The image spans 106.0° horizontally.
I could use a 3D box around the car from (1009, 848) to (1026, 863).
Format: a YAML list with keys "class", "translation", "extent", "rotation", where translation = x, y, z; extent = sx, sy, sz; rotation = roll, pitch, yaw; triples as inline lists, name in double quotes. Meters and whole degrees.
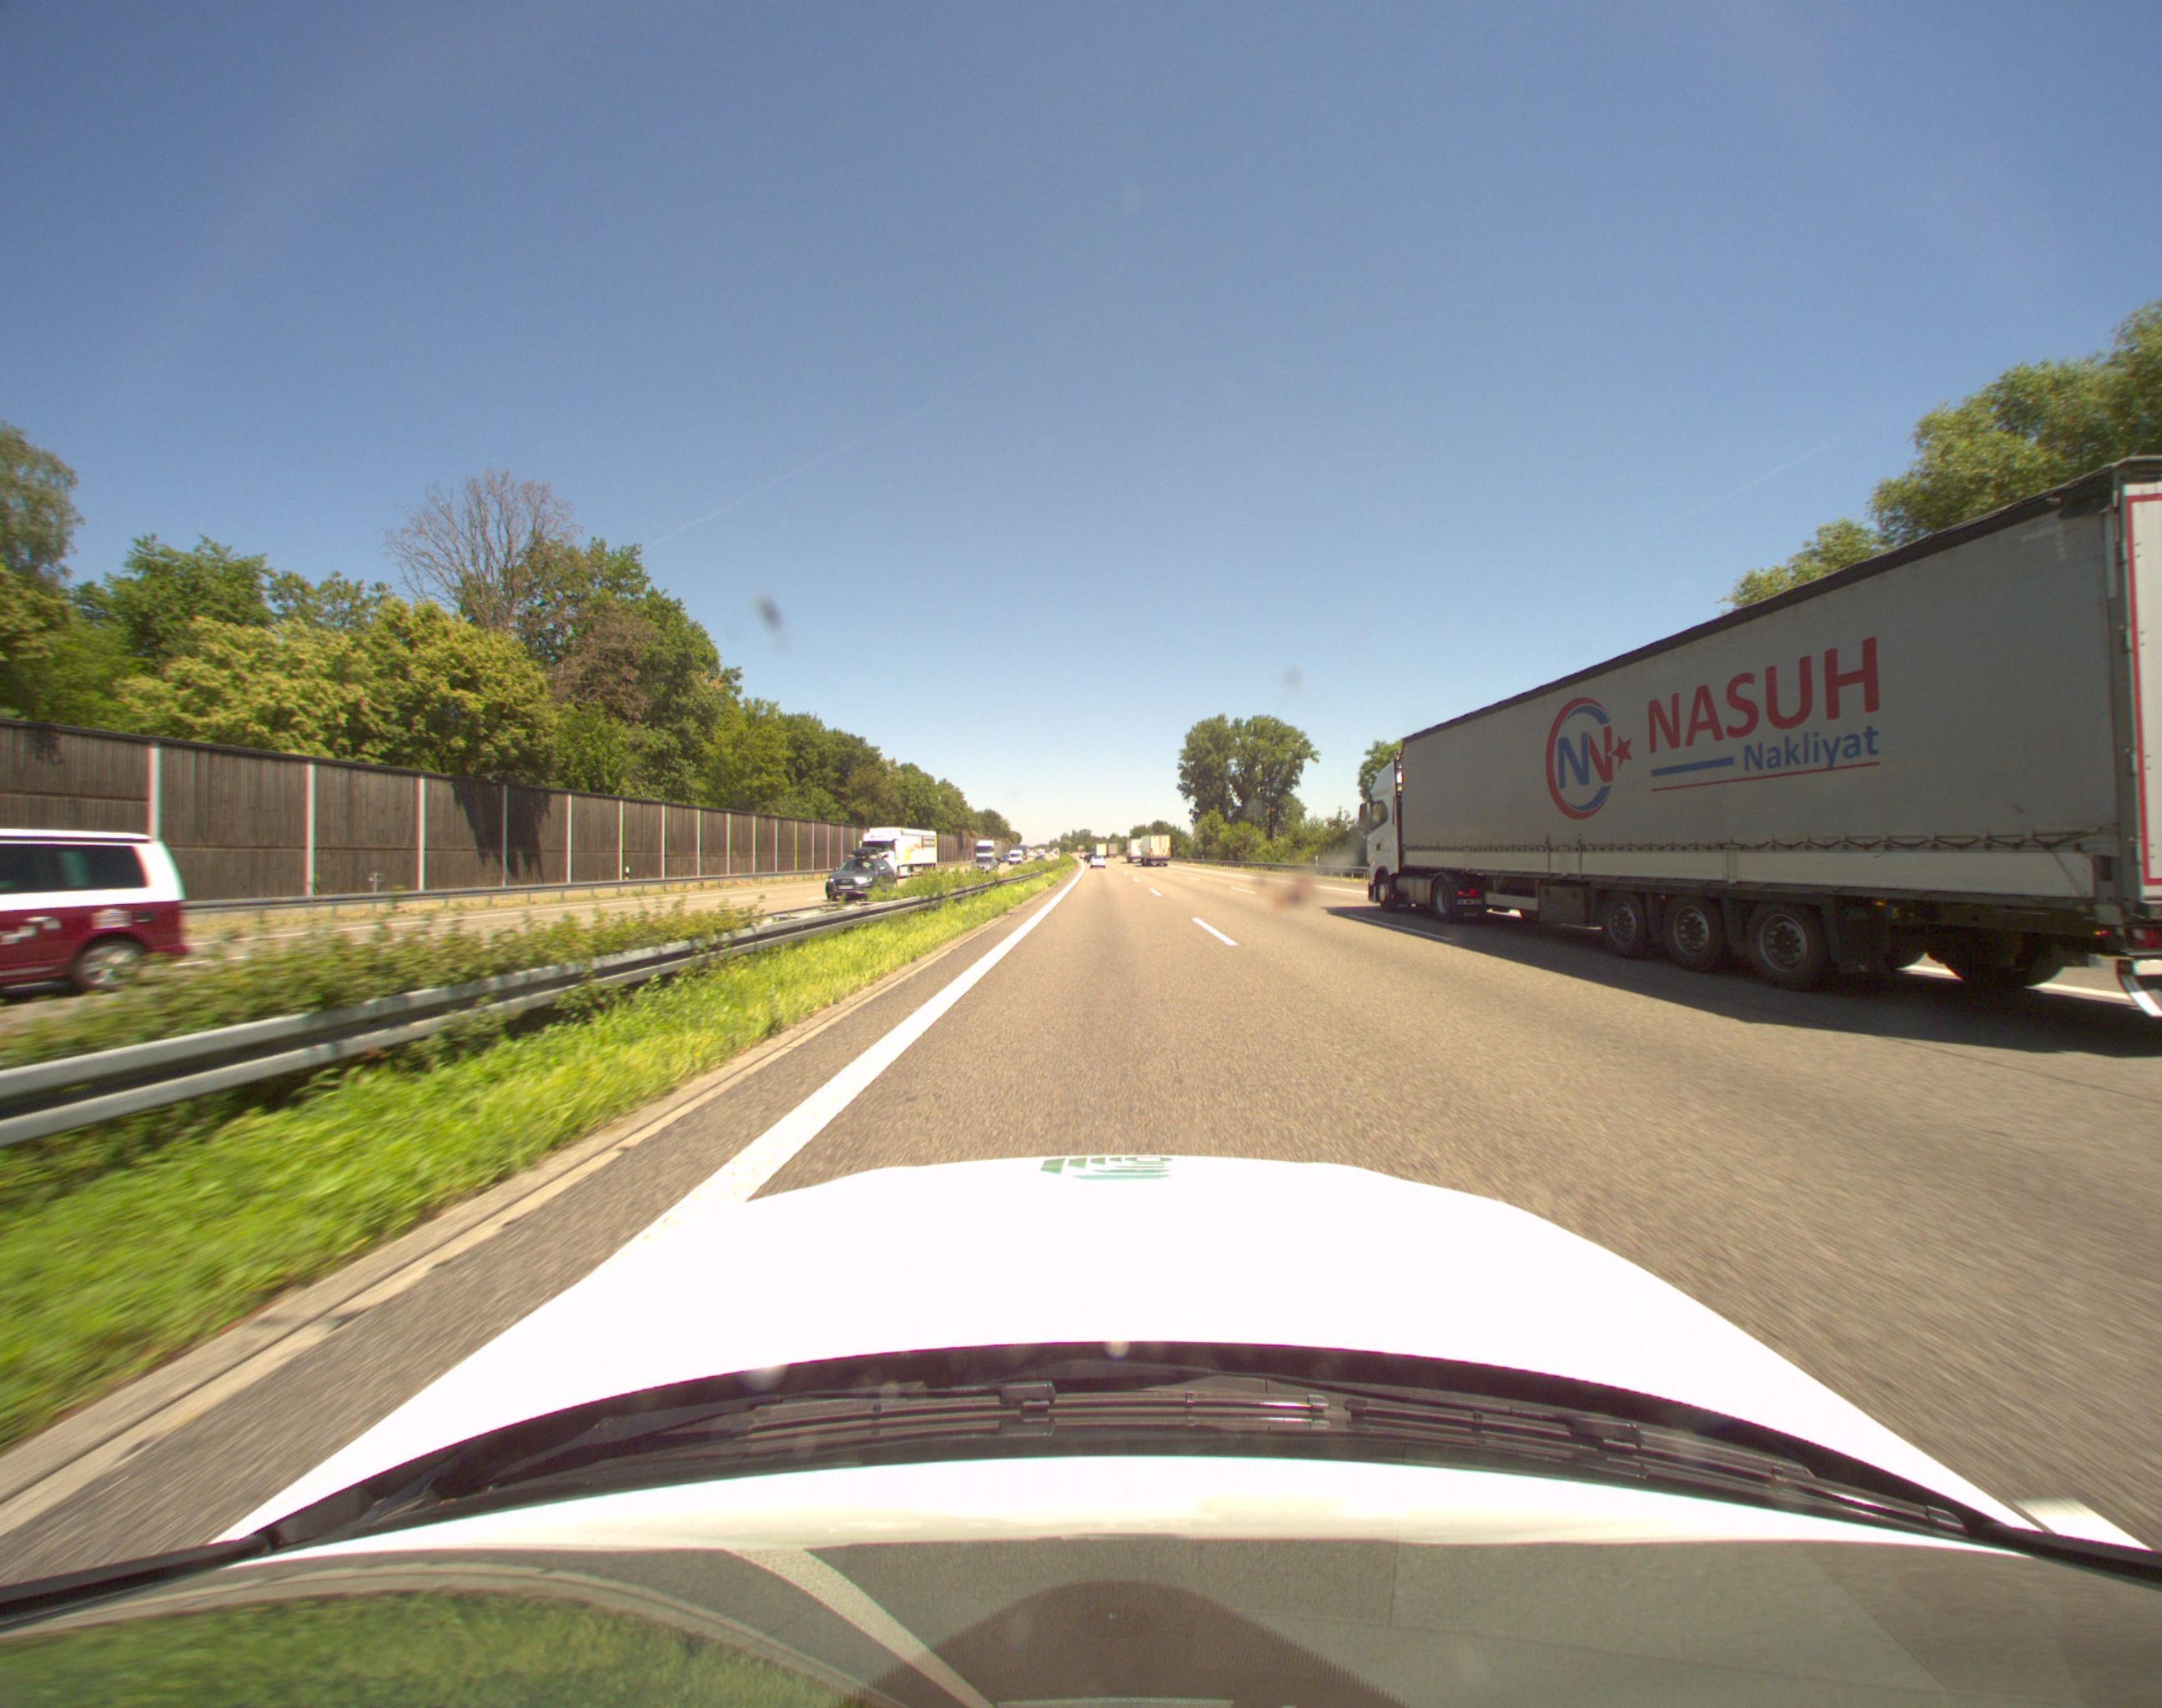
- class: "car"
  translation: [-10.724, 0.299, 137.900]
  extent: [2.072, 2.401, 6.044]
  rotation: [-1, 0, 2]

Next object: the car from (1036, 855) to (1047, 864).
- class: "car"
  translation: [-6.817, 0.959, 141.096]
  extent: [1.754, 1.428, 3.935]
  rotation: [-1, 0, 1]

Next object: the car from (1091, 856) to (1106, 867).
- class: "car"
  translation: [2.097, 0.894, 99.046]
  extent: [1.708, 1.369, 3.377]
  rotation: [-1, 0, 3]

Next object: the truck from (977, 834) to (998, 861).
- class: "truck"
  translation: [-14.702, -0.967, 129.007]
  extent: [2.494, 4.055, 6.361]
  rotation: [-1, 0, 0]

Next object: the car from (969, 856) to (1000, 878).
- class: "car"
  translation: [-7.346, 0.963, 62.380]
  extent: [1.760, 1.651, 4.040]
  rotation: [-1, 0, 1]

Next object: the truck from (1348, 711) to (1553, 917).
- class: "truck"
  translation: [8.650, -0.829, 19.836]
  extent: [2.596, 4.287, 5.437]
  rotation: [-1, -1, 1]

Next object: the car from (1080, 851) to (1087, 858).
- class: "car"
  translation: [0.694, 0.099, 222.334]
  extent: [1.718, 1.783, 4.001]
  rotation: [-1, 0, 1]

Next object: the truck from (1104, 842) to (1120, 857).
- class: "truck"
  translation: [9.032, -1.310, 239.151]
  extent: [3.820, 4.311, 11.544]
  rotation: [-1, 0, -2]

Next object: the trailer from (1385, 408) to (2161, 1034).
- class: "trailer"
  translation: [8.513, -0.880, 12.562]
  extent: [2.615, 4.261, 14.063]
  rotation: [-1, 0, 1]

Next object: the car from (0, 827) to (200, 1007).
- class: "car"
  translation: [-12.703, 0.697, 8.492]
  extent: [1.919, 1.945, 4.611]
  rotation: [-1, 0, 2]

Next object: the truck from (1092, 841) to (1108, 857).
- class: "truck"
  translation: [5.031, -1.269, 218.486]
  extent: [3.572, 4.311, 12.176]
  rotation: [-1, 0, -3]

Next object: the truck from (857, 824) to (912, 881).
- class: "truck"
  translation: [-15.211, -0.094, 63.505]
  extent: [2.720, 4.192, 6.037]
  rotation: [-1, -1, 1]

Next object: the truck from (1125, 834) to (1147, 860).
- class: "truck"
  translation: [9.357, -1.110, 140.074]
  extent: [3.347, 4.311, 10.832]
  rotation: [-1, 0, 2]

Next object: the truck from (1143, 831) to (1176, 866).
- class: "truck"
  translation: [10.104, -0.651, 105.573]
  extent: [3.479, 4.311, 10.992]
  rotation: [-1, 0, 2]

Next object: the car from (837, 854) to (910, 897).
- class: "car"
  translation: [-8.092, 0.805, 32.148]
  extent: [1.707, 1.543, 4.362]
  rotation: [-1, 0, 1]

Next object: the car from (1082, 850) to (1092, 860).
- class: "car"
  translation: [1.339, 0.206, 177.913]
  extent: [1.986, 2.013, 4.001]
  rotation: [-1, 0, 1]

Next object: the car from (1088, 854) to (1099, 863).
- class: "car"
  translation: [2.324, 0.830, 150.501]
  extent: [1.986, 1.772, 4.002]
  rotation: [-1, 0, 2]

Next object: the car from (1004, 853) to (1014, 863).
- class: "car"
  translation: [-14.932, 0.799, 168.995]
  extent: [1.795, 2.013, 3.999]
  rotation: [-1, 0, 0]

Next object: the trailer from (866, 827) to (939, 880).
- class: "trailer"
  translation: [-15.083, 0.004, 70.210]
  extent: [2.744, 4.074, 14.391]
  rotation: [-1, 0, 1]
